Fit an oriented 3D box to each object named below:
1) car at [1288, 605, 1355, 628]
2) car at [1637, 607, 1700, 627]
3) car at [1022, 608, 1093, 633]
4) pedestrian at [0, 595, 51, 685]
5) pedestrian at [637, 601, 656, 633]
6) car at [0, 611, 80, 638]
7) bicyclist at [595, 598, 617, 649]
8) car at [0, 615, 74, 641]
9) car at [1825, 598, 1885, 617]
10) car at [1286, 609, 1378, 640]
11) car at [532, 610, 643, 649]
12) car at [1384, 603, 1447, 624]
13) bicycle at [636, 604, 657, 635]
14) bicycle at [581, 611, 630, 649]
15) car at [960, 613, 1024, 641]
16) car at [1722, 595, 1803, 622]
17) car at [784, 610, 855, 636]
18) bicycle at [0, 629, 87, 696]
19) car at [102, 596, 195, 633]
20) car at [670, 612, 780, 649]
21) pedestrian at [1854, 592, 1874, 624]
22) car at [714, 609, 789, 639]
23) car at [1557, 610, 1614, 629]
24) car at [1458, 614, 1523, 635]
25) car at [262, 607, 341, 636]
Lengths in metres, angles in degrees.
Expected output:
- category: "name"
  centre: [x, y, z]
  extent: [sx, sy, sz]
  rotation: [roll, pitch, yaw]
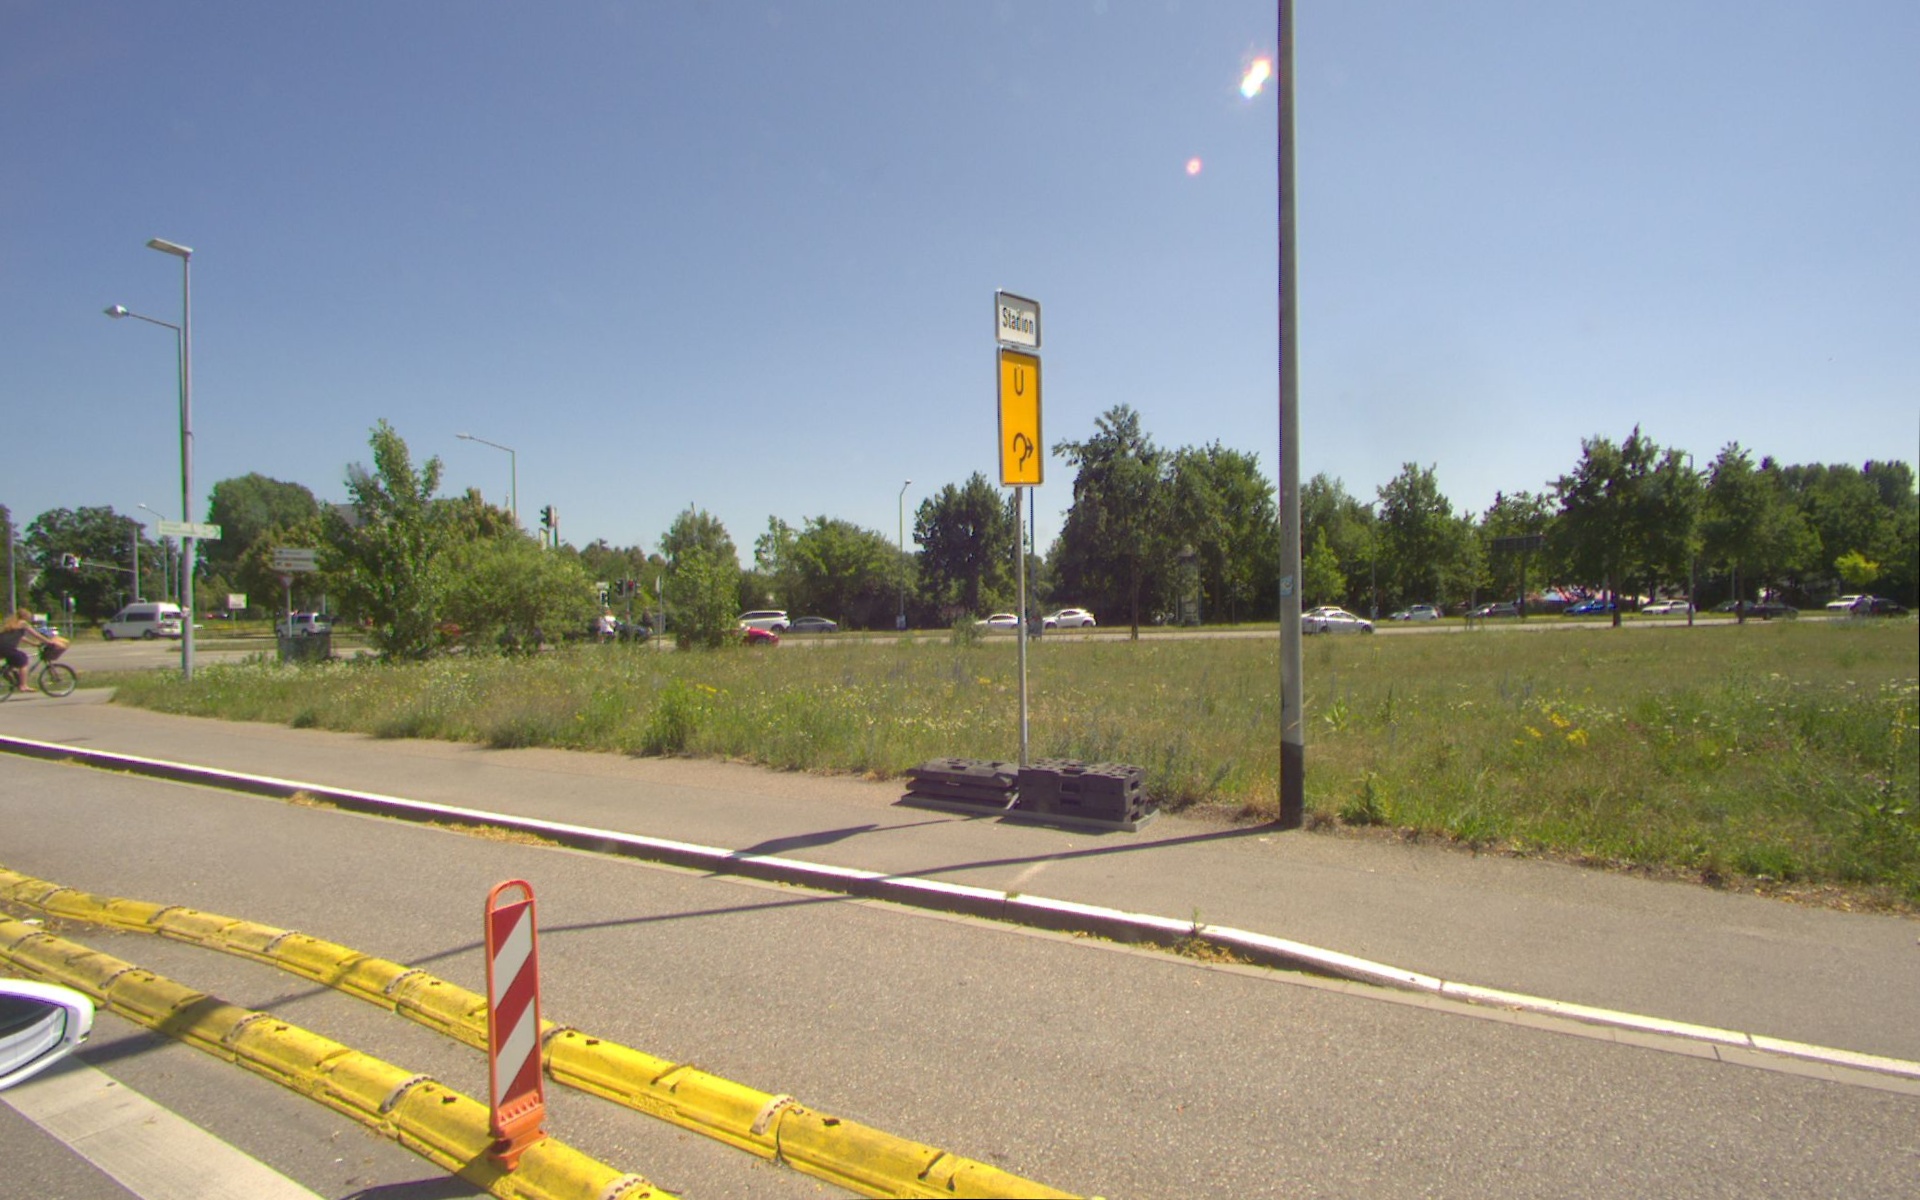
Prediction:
- category: "car"
  centre: [26.092, 1.227, 72.287]
  extent: [4.366, 1.612, 1.846]
  rotation: [0, -2, -16]
- category: "car"
  centre: [57.550, 1.397, 81.340]
  extent: [4.366, 1.612, 1.846]
  rotation: [0, -2, -16]
- category: "car"
  centre: [6.454, 1.403, 66.475]
  extent: [4.366, 1.612, 1.846]
  rotation: [0, -2, -16]
- category: "pedestrian"
  centre: [-18.371, 0.780, 19.640]
  extent: [0.569, 1.713, 0.729]
  rotation: [-1, -2, 42]
- category: "pedestrian"
  centre: [-16.708, 0.927, 53.421]
  extent: [0.954, 1.681, 0.885]
  rotation: [0, -1, -16]
- category: "car"
  centre: [-70.199, 1.857, 75.618]
  extent: [5.241, 1.986, 1.989]
  rotation: [1, -2, -22]
- category: "bicyclist"
  centre: [-13.151, 0.871, 37.162]
  extent: [0.597, 1.864, 0.572]
  rotation: [0, -1, 2]
- category: "car"
  centre: [-70.654, 2.126, 75.672]
  extent: [5.229, 1.986, 1.993]
  rotation: [0, -2, -11]
- category: "car"
  centre: [77.619, 0.681, 86.825]
  extent: [4.366, 1.612, 1.846]
  rotation: [0, -2, -17]
- category: "car"
  centre: [19.677, 1.285, 52.943]
  extent: [4.344, 1.547, 1.995]
  rotation: [0, 0, -20]
- category: "car"
  centre: [-16.429, 1.255, 44.178]
  extent: [4.353, 1.616, 1.991]
  rotation: [0, 0, -28]
- category: "car"
  centre: [35.688, 1.056, 78.496]
  extent: [4.365, 1.613, 1.845]
  rotation: [0, 0, -16]
- category: "bicycle"
  centre: [-16.751, 1.062, 53.559]
  extent: [0.967, 1.617, 2.879]
  rotation: [0, -2, -16]
- category: "bicycle"
  centre: [-13.185, 1.137, 37.309]
  extent: [0.628, 1.370, 2.896]
  rotation: [0, -2, 4]
- category: "car"
  centre: [2.193, 1.864, 68.214]
  extent: [4.074, 1.840, 1.662]
  rotation: [0, -2, -15]
- category: "car"
  centre: [55.282, 0.612, 68.969]
  extent: [5.241, 1.758, 1.995]
  rotation: [1, -2, -21]
- category: "car"
  centre: [-9.138, 1.518, 64.936]
  extent: [4.366, 1.612, 1.846]
  rotation: [0, -2, -16]
- category: "bicycle"
  centre: [-18.387, 1.221, 19.622]
  extent: [0.607, 1.247, 1.832]
  rotation: [-1, 0, 42]
- category: "car"
  centre: [-54.060, 0.999, 66.734]
  extent: [5.229, 2.427, 1.993]
  rotation: [-1, -2, 13]
- category: "car"
  centre: [-10.131, 1.325, 43.168]
  extent: [4.348, 1.546, 1.994]
  rotation: [1, -2, -24]
- category: "pedestrian"
  centre: [46.799, 0.429, 51.841]
  extent: [0.548, 1.611, 0.662]
  rotation: [1, -1, -32]
- category: "car"
  centre: [-12.640, 1.474, 60.626]
  extent: [4.366, 1.758, 1.846]
  rotation: [0, -2, -16]
- category: "car"
  centre: [51.862, 1.616, 83.018]
  extent: [3.927, 1.558, 1.764]
  rotation: [0, -2, -14]
- category: "car"
  centre: [40.365, 1.883, 76.192]
  extent: [4.366, 1.612, 1.846]
  rotation: [0, -2, -16]
- category: "car"
  centre: [-48.707, 1.641, 74.058]
  extent: [5.232, 2.097, 1.992]
  rotation: [-1, -2, 17]
